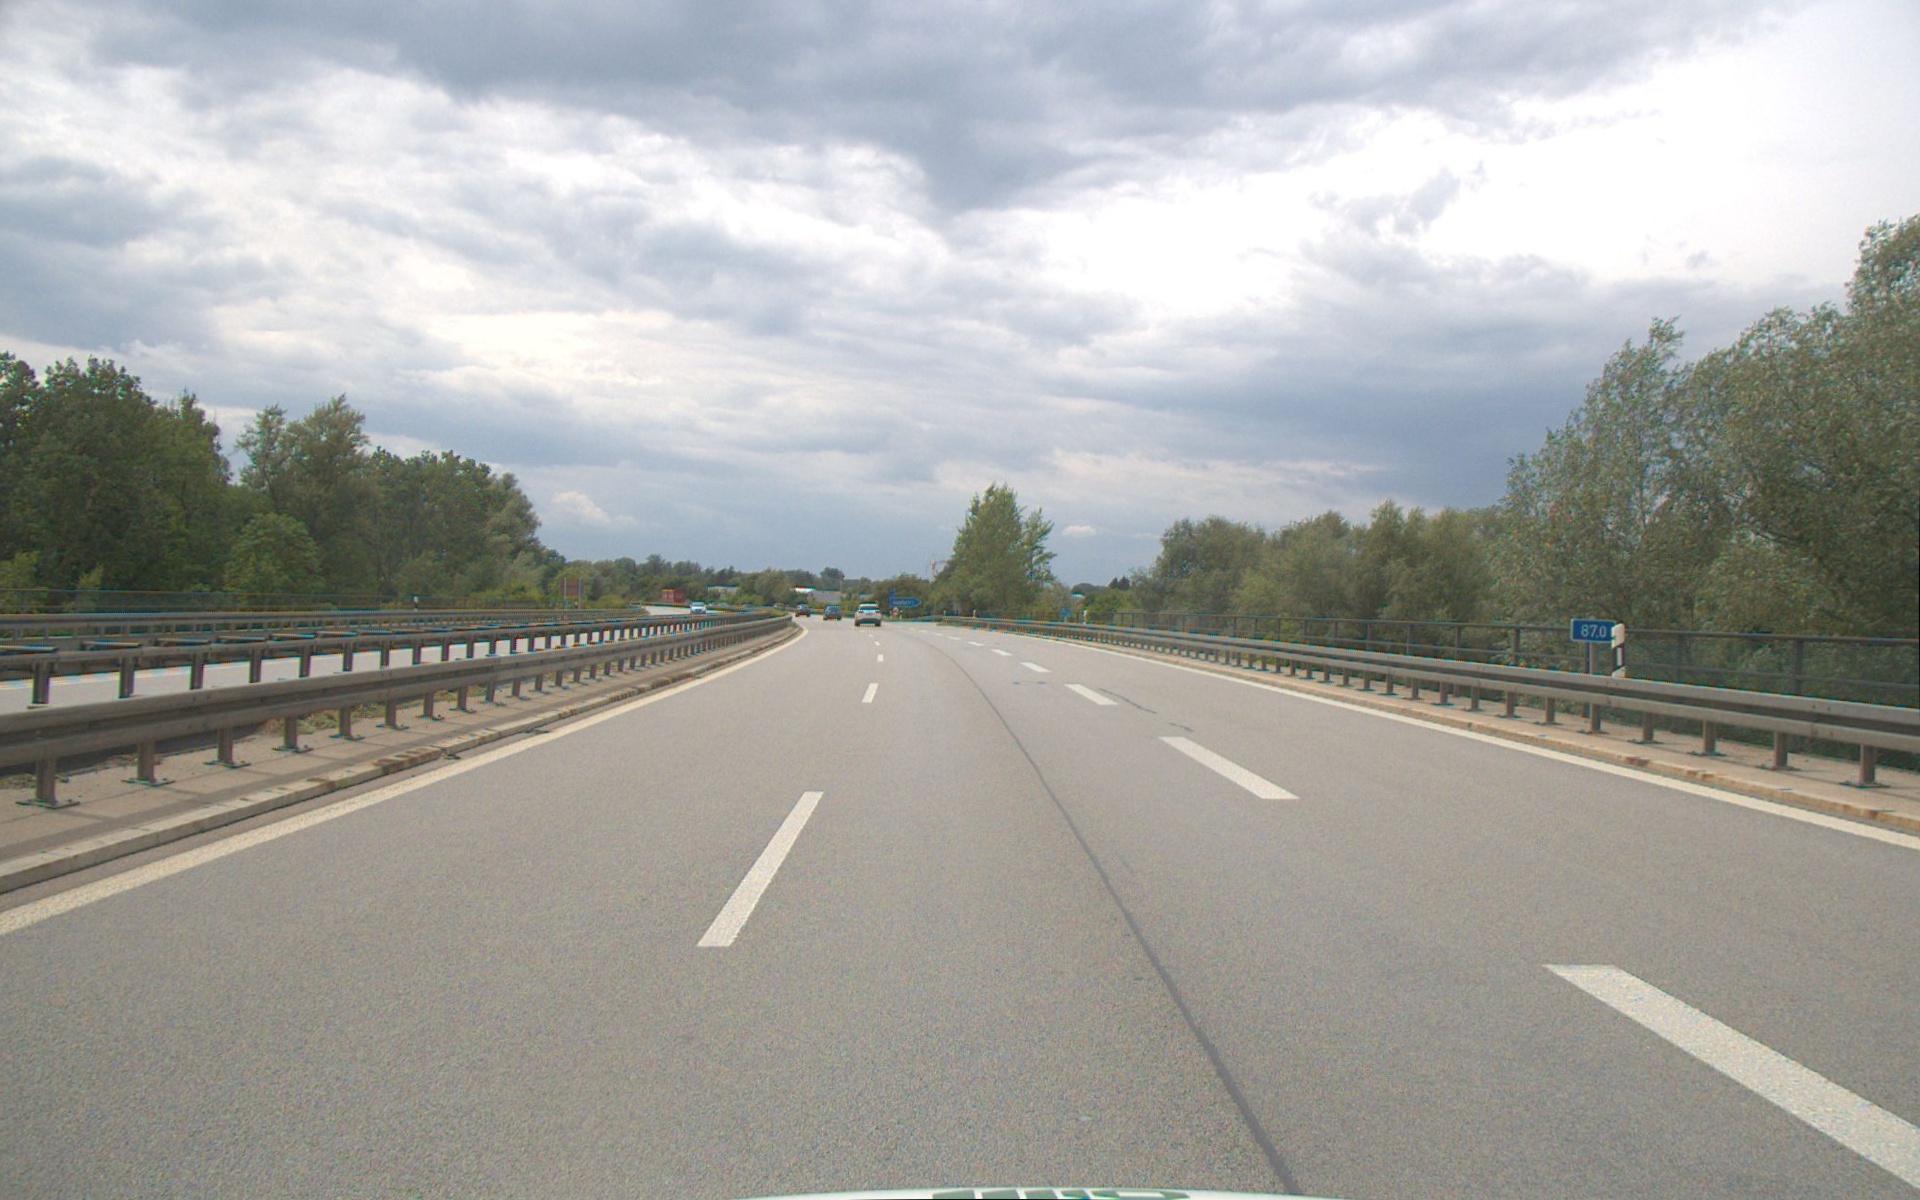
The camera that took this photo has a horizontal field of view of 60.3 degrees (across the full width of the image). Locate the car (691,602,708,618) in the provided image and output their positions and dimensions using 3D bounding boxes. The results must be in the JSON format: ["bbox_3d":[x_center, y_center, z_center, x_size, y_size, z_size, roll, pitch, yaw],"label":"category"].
[{"bbox_3d":[-29.808,1.159,189.228,1.611,1.745,4.975,1,0,-5],"label":"car"}]

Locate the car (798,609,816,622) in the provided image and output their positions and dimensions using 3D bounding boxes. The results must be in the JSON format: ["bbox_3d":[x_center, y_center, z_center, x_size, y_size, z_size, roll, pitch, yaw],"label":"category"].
[{"bbox_3d":[-20.156,2.038,217.404,1.869,1.669,4.765,1,-1,-12],"label":"car"}]

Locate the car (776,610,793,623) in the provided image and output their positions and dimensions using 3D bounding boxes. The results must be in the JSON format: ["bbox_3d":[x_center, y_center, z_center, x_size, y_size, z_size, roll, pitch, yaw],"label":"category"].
[{"bbox_3d":[-26.702,2.515,251.601,1.796,1.825,4.395,1,0,-15],"label":"car"}]

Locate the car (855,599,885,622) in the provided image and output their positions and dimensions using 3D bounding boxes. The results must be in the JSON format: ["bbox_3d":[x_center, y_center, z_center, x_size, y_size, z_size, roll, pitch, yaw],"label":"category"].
[{"bbox_3d":[-6.855,0.810,125.268,1.867,1.668,4.387,1,0,-8],"label":"car"}]

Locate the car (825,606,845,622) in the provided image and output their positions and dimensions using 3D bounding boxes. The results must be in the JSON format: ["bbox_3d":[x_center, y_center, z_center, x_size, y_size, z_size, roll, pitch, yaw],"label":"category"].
[{"bbox_3d":[-13.283,1.469,175.404,1.857,1.668,4.613,1,0,-8],"label":"car"}]
